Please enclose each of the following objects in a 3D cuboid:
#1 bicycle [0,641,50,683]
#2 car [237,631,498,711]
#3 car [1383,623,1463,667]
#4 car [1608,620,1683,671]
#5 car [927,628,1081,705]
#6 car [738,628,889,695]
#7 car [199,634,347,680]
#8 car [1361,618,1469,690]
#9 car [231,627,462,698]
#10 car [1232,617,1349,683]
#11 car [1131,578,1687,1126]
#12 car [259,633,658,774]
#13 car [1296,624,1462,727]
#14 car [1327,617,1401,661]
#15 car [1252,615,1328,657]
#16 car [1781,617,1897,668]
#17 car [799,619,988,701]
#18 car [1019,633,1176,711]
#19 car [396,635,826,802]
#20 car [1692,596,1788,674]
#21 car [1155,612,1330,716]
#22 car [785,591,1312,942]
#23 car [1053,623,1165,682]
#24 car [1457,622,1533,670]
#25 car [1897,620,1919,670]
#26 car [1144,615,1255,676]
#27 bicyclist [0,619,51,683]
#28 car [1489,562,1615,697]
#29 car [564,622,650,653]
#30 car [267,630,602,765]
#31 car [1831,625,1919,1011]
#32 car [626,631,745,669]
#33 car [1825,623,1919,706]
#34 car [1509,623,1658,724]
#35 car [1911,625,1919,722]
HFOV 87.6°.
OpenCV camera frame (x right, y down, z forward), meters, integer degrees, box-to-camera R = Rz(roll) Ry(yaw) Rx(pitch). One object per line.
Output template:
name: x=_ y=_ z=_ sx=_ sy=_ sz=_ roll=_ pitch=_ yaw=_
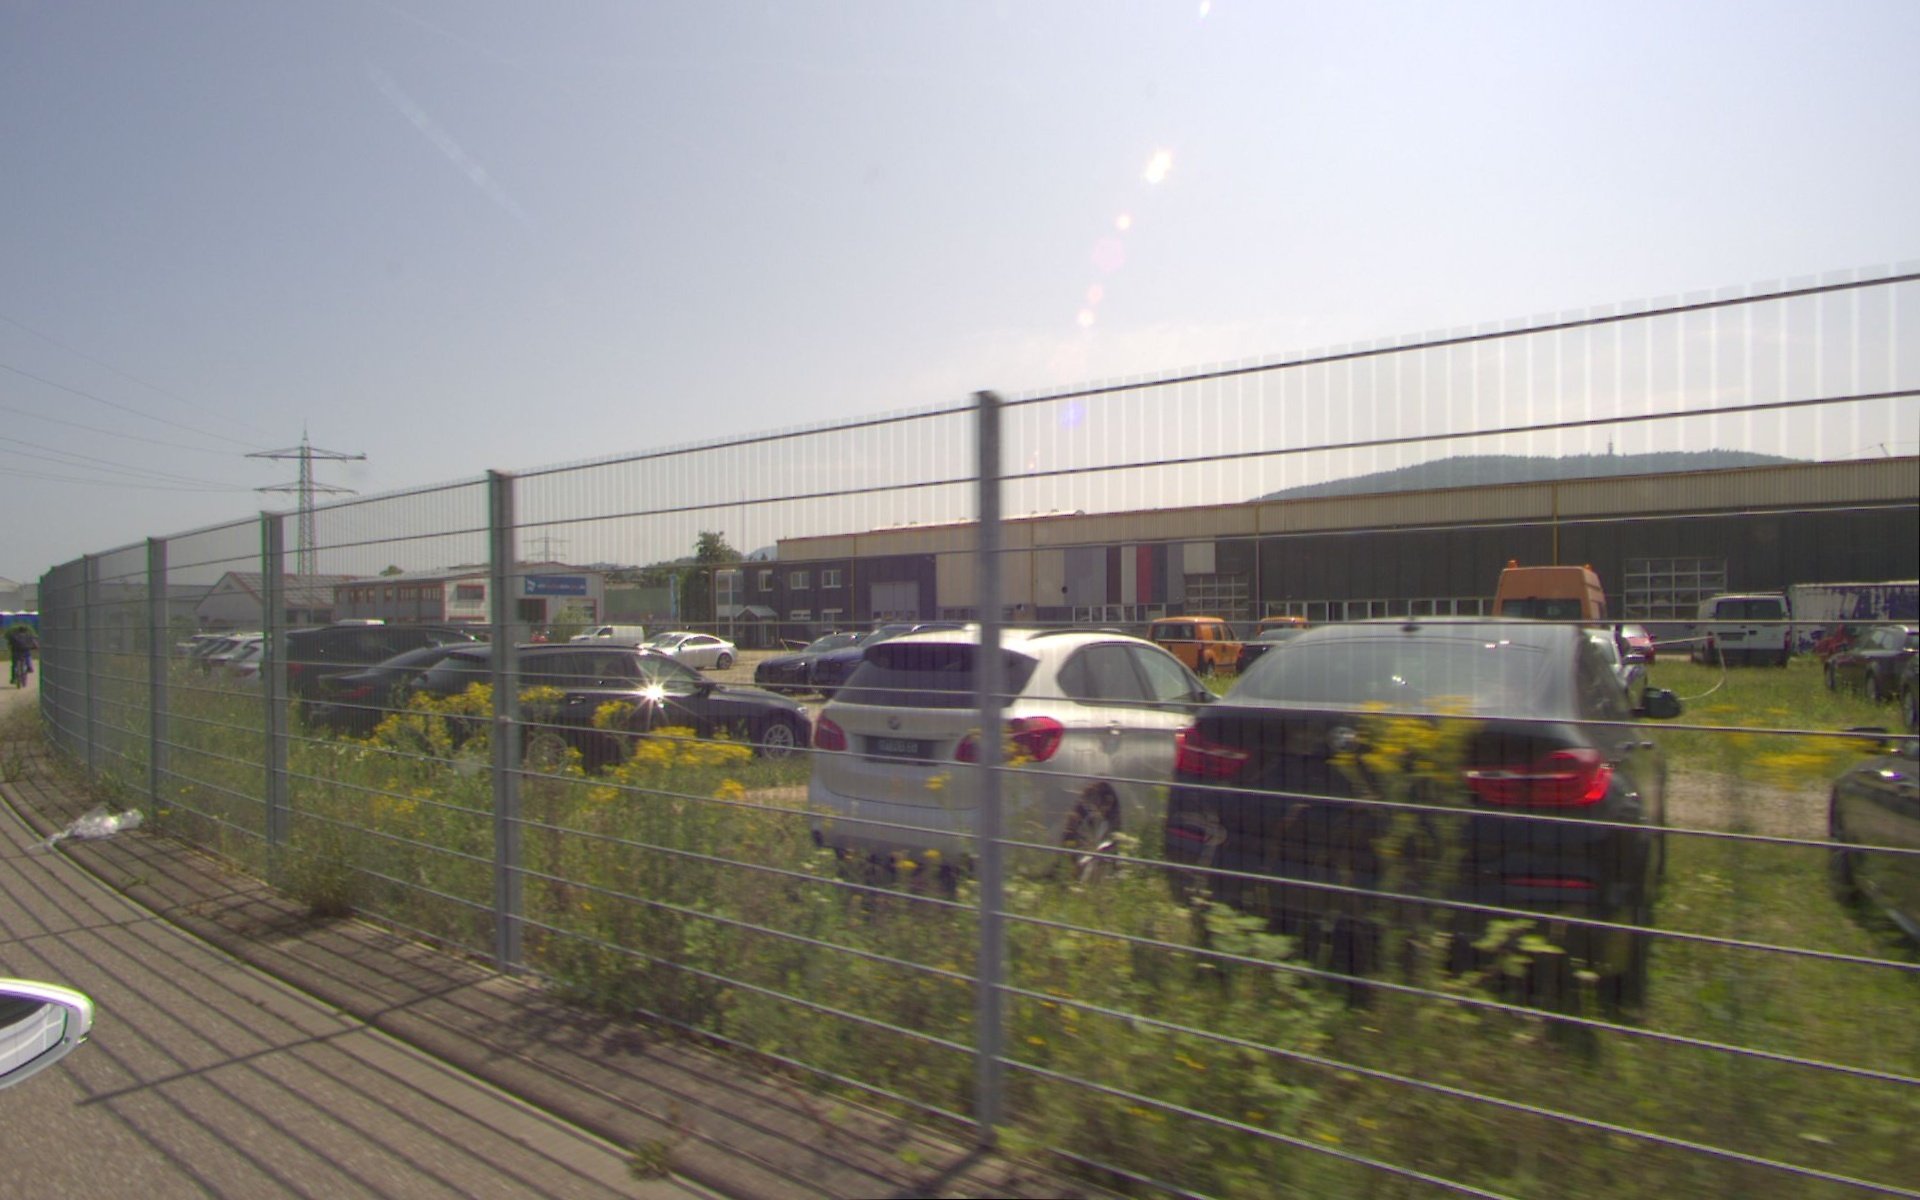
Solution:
bicycle: x=-24.616 y=1.615 z=26.366 sx=0.678 sy=1.065 sz=1.889 roll=2 pitch=-2 yaw=-34
car: x=-11.681 y=1.423 z=19.894 sx=4.181 sy=1.423 sz=1.823 roll=5 pitch=-4 yaw=-41
car: x=16.874 y=1.591 z=36.378 sx=1.973 sy=1.483 sz=3.976 roll=-1 pitch=-1 yaw=35
car: x=21.529 y=1.371 z=31.378 sx=1.818 sy=1.396 sz=4.361 roll=0 pitch=0 yaw=36
car: x=1.044 y=1.380 z=21.976 sx=1.590 sy=1.456 sz=3.749 roll=0 pitch=0 yaw=36
car: x=-3.585 y=1.467 z=25.069 sx=1.590 sy=1.456 sz=3.749 roll=0 pitch=0 yaw=36
car: x=-24.286 y=2.033 z=35.483 sx=4.136 sy=1.492 sz=1.623 roll=5 pitch=-4 yaw=-42
car: x=10.611 y=1.175 z=23.229 sx=1.568 sy=1.481 sz=3.804 roll=0 pitch=0 yaw=36
car: x=-13.511 y=1.410 z=22.221 sx=4.172 sy=1.423 sz=1.827 roll=4 pitch=-4 yaw=-35
car: x=8.364 y=1.177 z=25.146 sx=1.733 sy=1.481 sz=3.804 roll=0 pitch=0 yaw=36
car: x=2.743 y=0.793 z=5.371 sx=1.702 sy=1.692 sz=4.451 roll=0 pitch=0 yaw=38
car: x=-6.227 y=1.171 z=12.743 sx=4.250 sy=1.396 sz=1.749 roll=0 pitch=0 yaw=-42
car: x=7.290 y=1.168 z=17.147 sx=1.640 sy=1.451 sz=4.546 roll=0 pitch=0 yaw=36
car: x=15.157 y=1.411 z=37.437 sx=1.728 sy=1.505 sz=4.365 roll=0 pitch=0 yaw=34
car: x=12.861 y=1.362 z=38.921 sx=1.728 sy=1.505 sz=4.365 roll=0 pitch=0 yaw=34
car: x=25.578 y=1.177 z=29.298 sx=1.946 sy=1.340 sz=4.365 roll=0 pitch=0 yaw=34
car: x=-1.445 y=1.305 z=23.395 sx=1.856 sy=1.670 sz=4.440 roll=0 pitch=0 yaw=40
car: x=2.877 y=1.389 z=20.362 sx=1.590 sy=1.319 sz=3.749 roll=0 pitch=0 yaw=36
car: x=-3.736 y=1.160 z=11.348 sx=1.745 sy=1.396 sz=4.317 roll=0 pitch=0 yaw=42
car: x=23.486 y=0.994 z=30.295 sx=1.946 sy=2.200 sz=4.365 roll=0 pitch=0 yaw=34
car: x=5.595 y=1.142 z=19.517 sx=1.975 sy=1.740 sz=3.971 roll=0 pitch=0 yaw=38
car: x=0.900 y=0.817 z=6.971 sx=1.702 sy=1.692 sz=4.105 roll=0 pitch=0 yaw=38
car: x=4.293 y=1.430 z=28.444 sx=1.568 sy=1.481 sz=3.804 roll=0 pitch=0 yaw=36
car: x=18.721 y=1.539 z=34.977 sx=1.946 sy=1.505 sz=4.365 roll=0 pitch=0 yaw=34
car: x=28.821 y=1.305 z=28.854 sx=1.946 sy=1.404 sz=4.365 roll=0 pitch=0 yaw=34
car: x=6.501 y=1.167 z=26.904 sx=1.568 sy=1.481 sz=3.804 roll=0 pitch=0 yaw=36
bicyclist: x=-24.597 y=1.337 z=26.353 sx=0.834 sy=1.639 sz=1.032 roll=2 pitch=-1 yaw=-34
car: x=13.072 y=0.587 z=21.967 sx=1.954 sy=2.619 sz=4.715 roll=0 pitch=0 yaw=36
car: x=-22.642 y=2.392 z=64.406 sx=1.834 sy=1.923 sz=5.043 roll=-1 pitch=-2 yaw=37
car: x=-7.738 y=1.324 z=14.926 sx=4.240 sy=1.659 sz=1.753 roll=0 pitch=0 yaw=-35
car: x=5.052 y=0.946 z=4.094 sx=1.772 sy=1.603 sz=4.456 roll=0 pitch=0 yaw=35
car: x=-10.768 y=1.941 z=39.544 sx=1.606 sy=1.368 sz=4.494 roll=-1 pitch=-2 yaw=37
car: x=17.024 y=1.089 z=18.035 sx=1.797 sy=1.286 sz=4.361 roll=0 pitch=0 yaw=36
car: x=10.552 y=1.106 z=16.778 sx=1.797 sy=1.369 sz=4.729 roll=0 pitch=0 yaw=36
car: x=13.408 y=1.034 z=12.356 sx=1.797 sy=1.369 sz=4.729 roll=0 pitch=0 yaw=36
